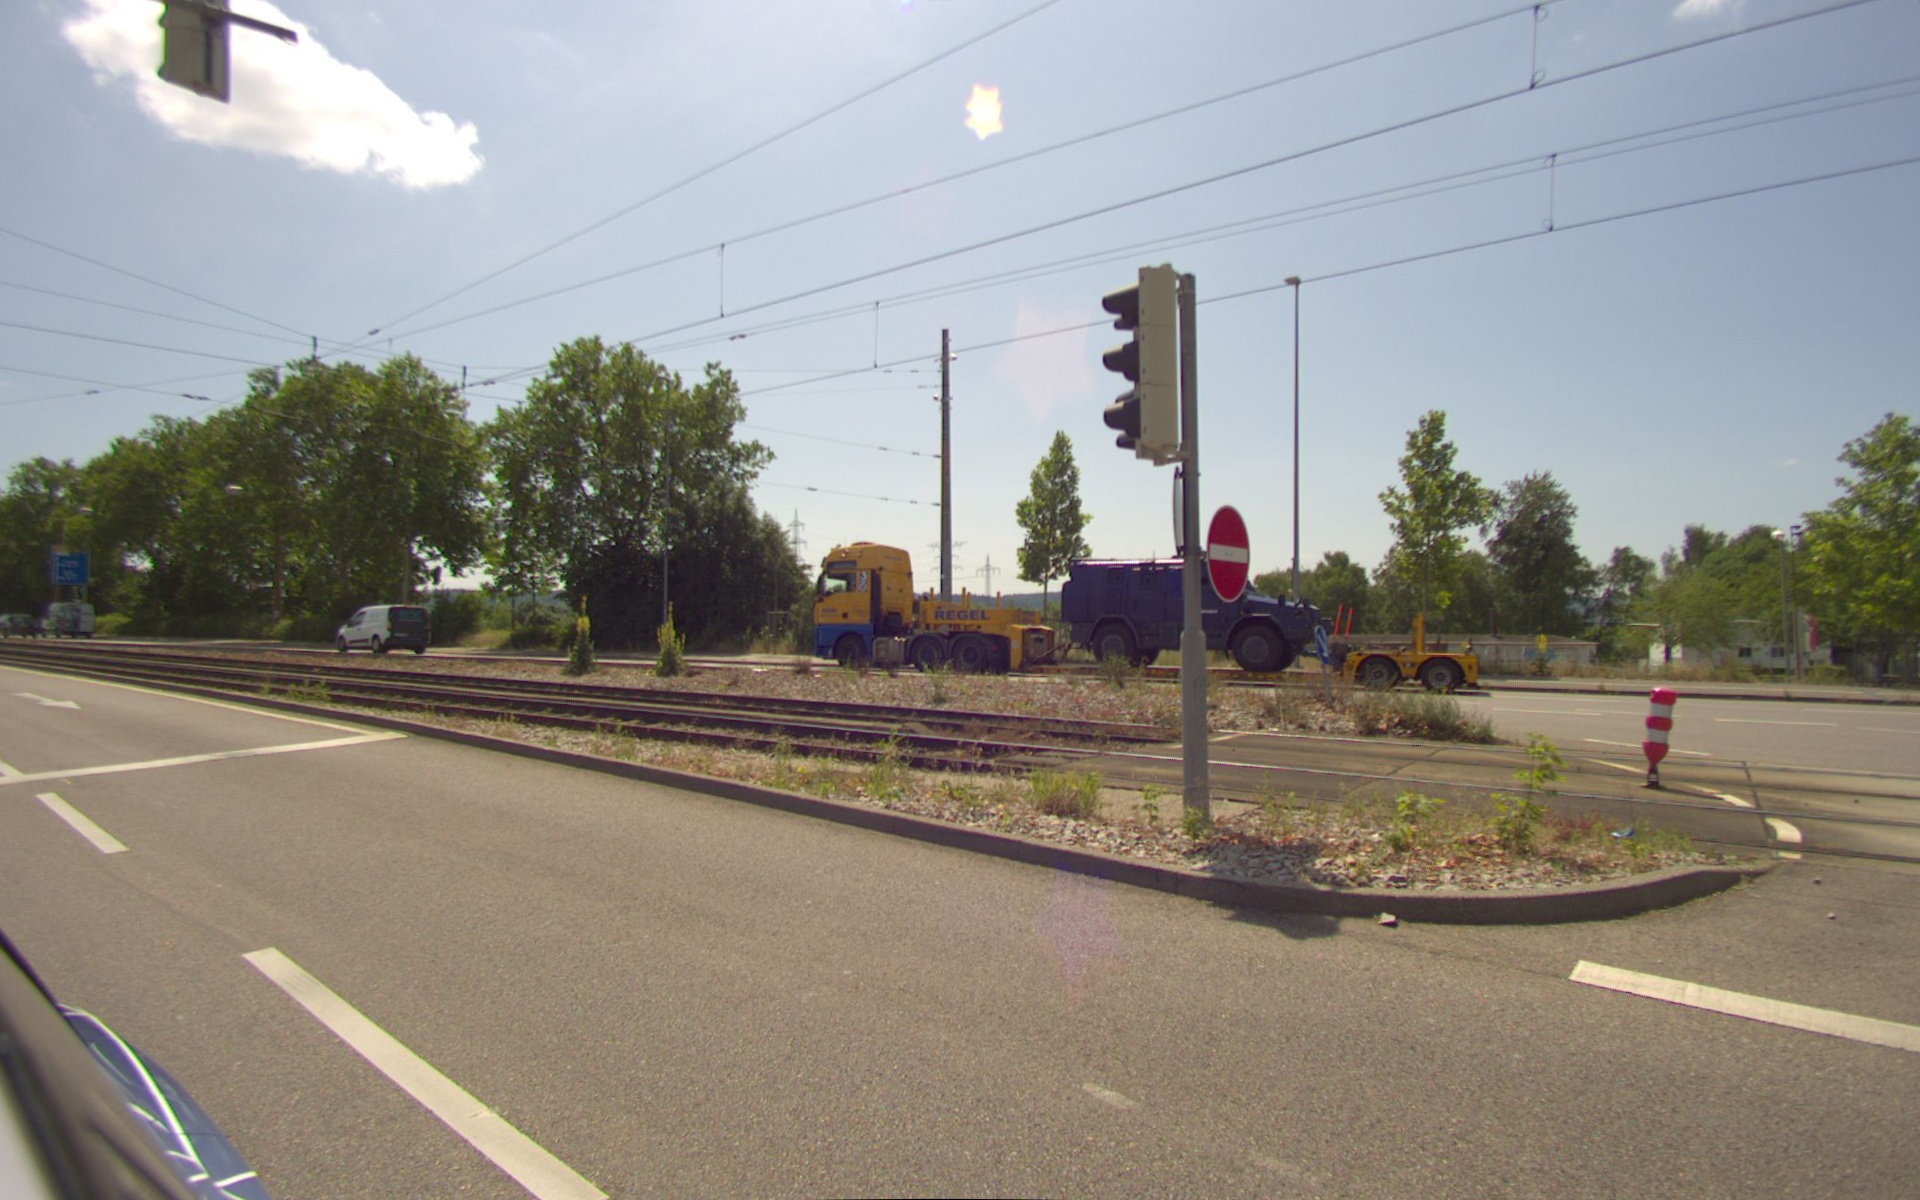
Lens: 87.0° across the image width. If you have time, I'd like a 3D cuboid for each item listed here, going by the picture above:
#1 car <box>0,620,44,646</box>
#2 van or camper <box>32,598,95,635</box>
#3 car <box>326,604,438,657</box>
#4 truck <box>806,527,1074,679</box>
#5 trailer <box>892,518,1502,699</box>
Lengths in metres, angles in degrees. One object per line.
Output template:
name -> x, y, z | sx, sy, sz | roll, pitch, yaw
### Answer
car -> -64.937, 2.266, 69.463 | 4.252, 1.649, 1.978 | -1, -4, 33
van or camper -> -65.855, 1.223, 74.314 | 5.827, 2.606, 1.977 | -1, -3, 33
car -> -22.291, 1.197, 38.982 | 4.420, 1.852, 1.977 | -3, -3, 33
truck -> -0.661, 0.150, 30.161 | 7.440, 4.069, 3.106 | -1, -1, 28
trailer -> 5.544, 0.308, 26.794 | 15.412, 3.900, 3.095 | -1, -1, 29
